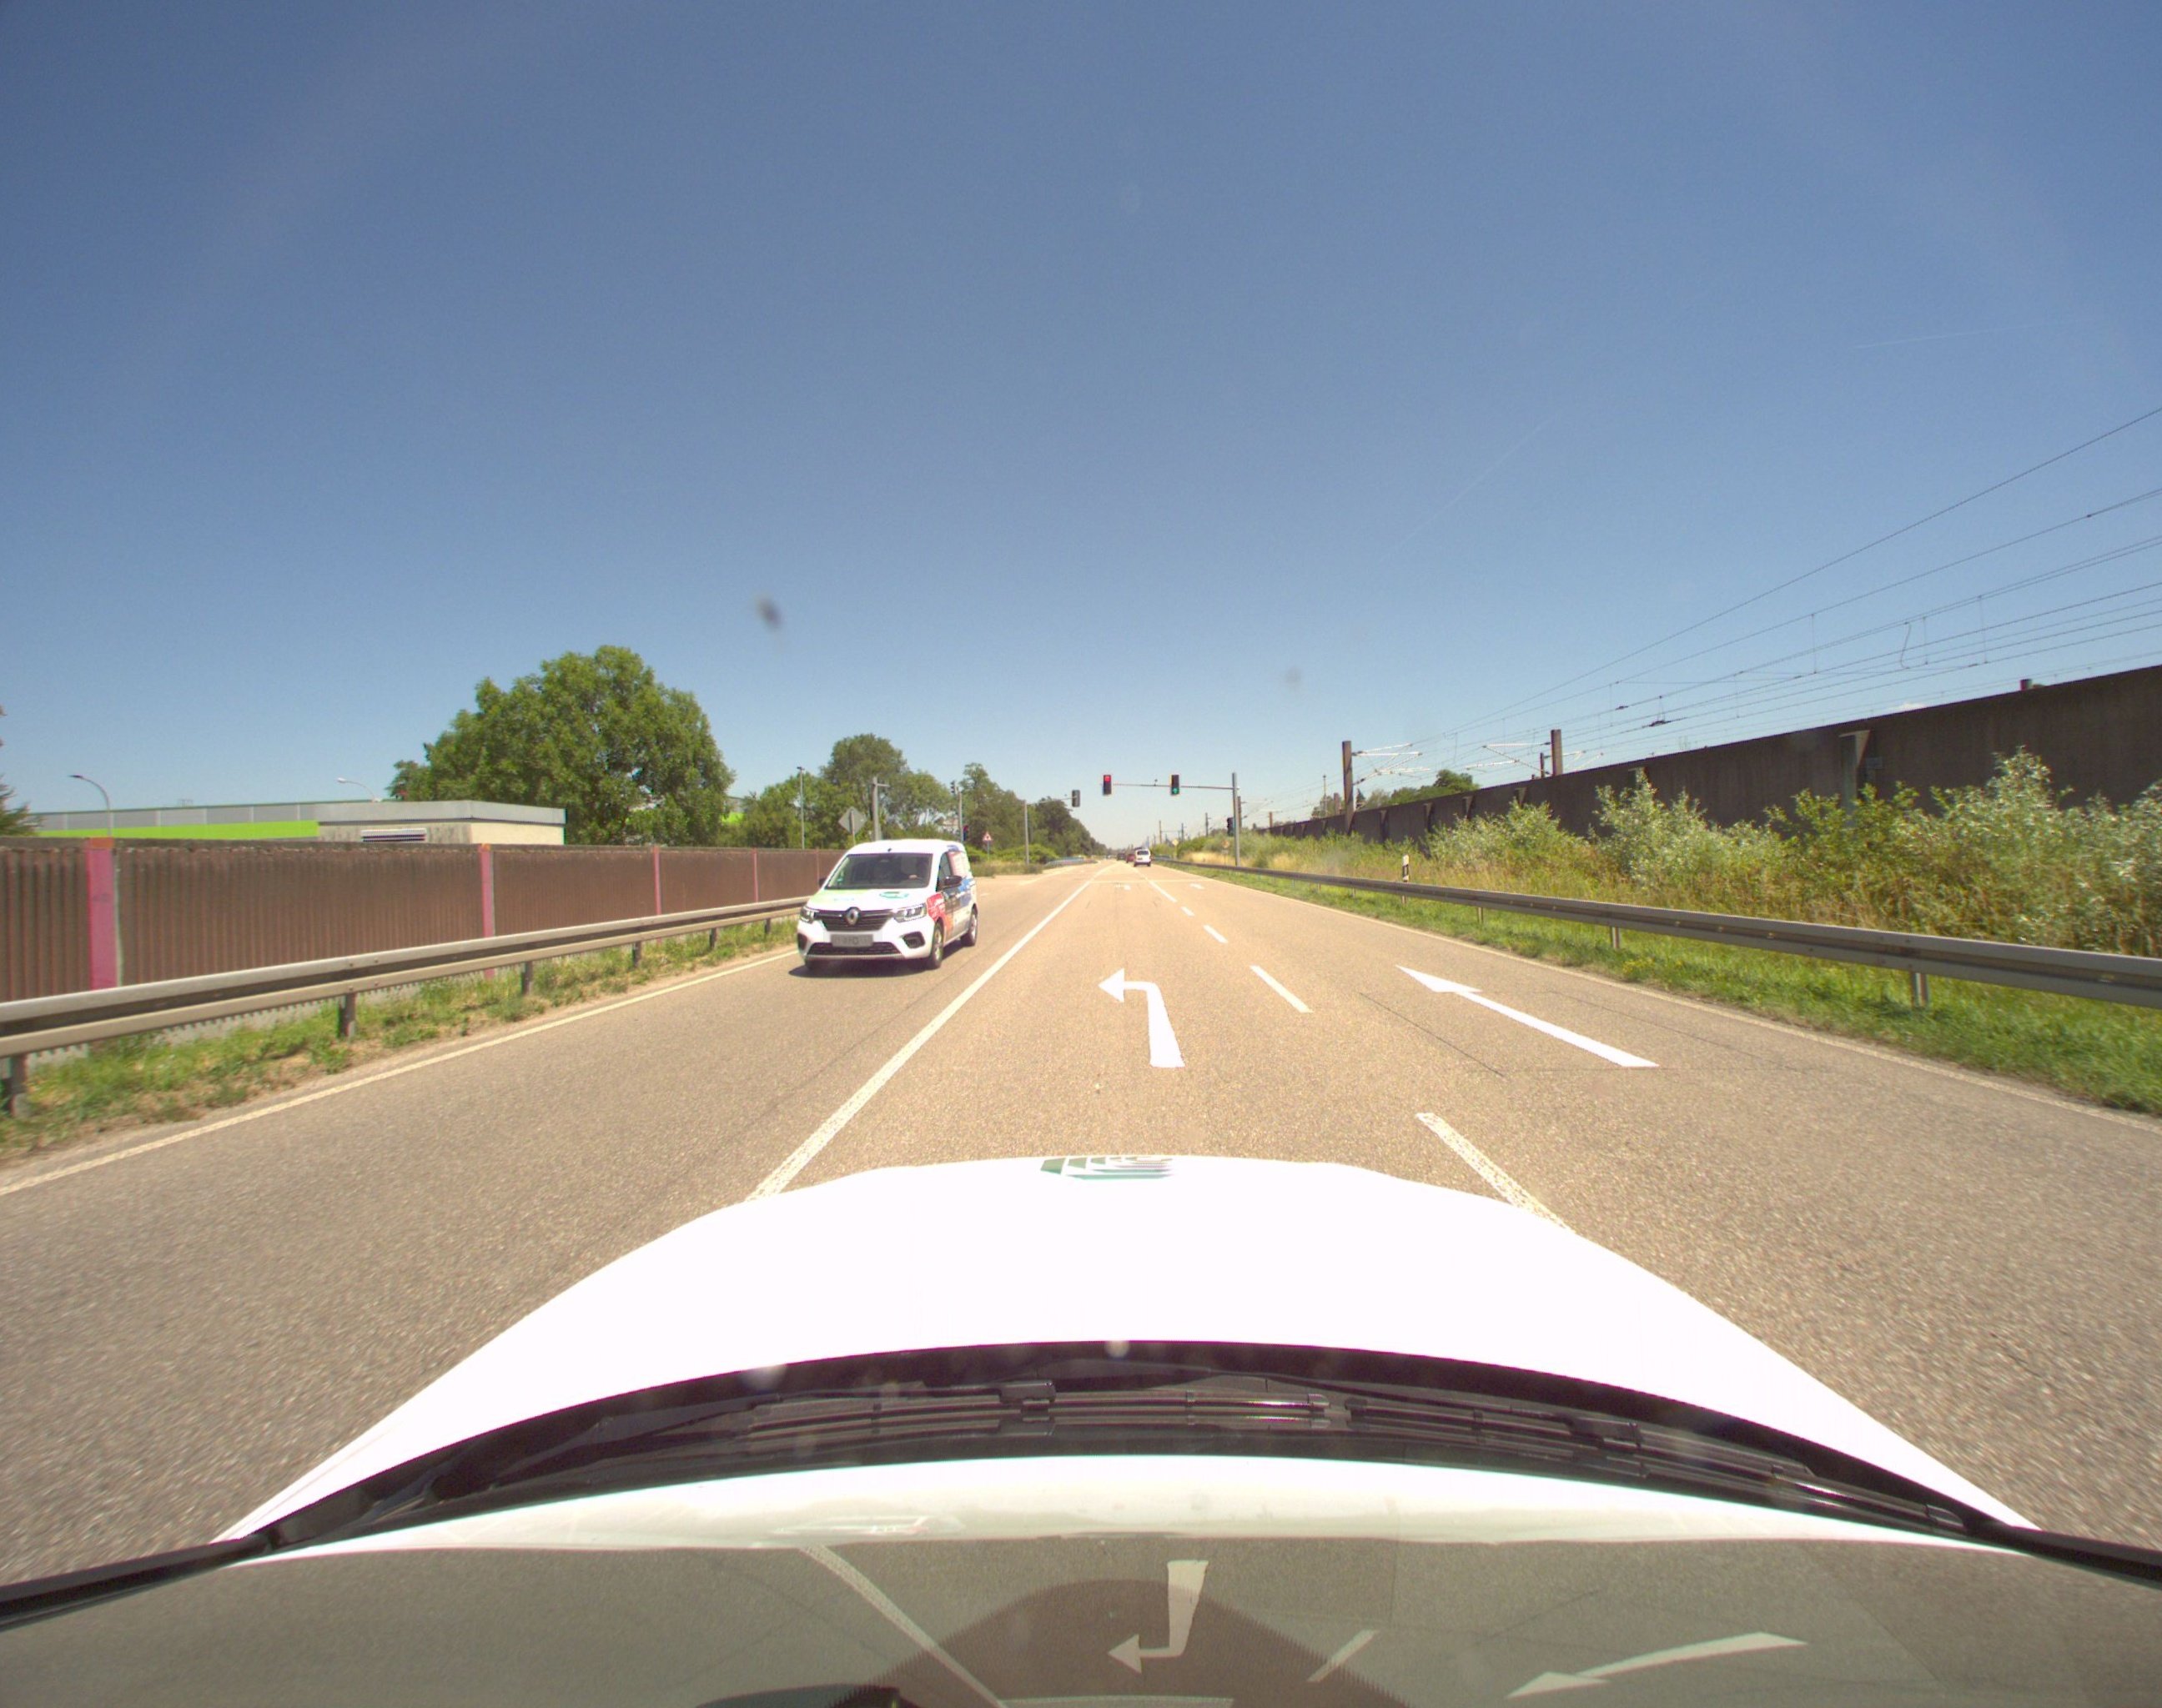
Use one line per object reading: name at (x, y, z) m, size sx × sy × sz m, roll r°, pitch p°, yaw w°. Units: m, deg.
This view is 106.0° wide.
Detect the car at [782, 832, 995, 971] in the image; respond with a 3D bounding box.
car at (-2.686, 0.599, 12.662) m, size 1.879 × 1.740 × 4.781 m, roll -1°, pitch 0°, yaw 4°

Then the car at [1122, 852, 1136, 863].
car at (7.973, 0.557, 135.523) m, size 2.013 × 1.726 × 4.543 m, roll -1°, pitch 0°, yaw 1°

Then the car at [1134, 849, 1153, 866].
car at (7.135, 0.402, 93.947) m, size 1.986 × 1.983 × 4.061 m, roll 0°, pitch 0°, yaw 1°

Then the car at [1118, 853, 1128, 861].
car at (9.856, 0.672, 191.644) m, size 2.147 × 1.968 × 4.543 m, roll -1°, pitch 0°, yaw 1°
